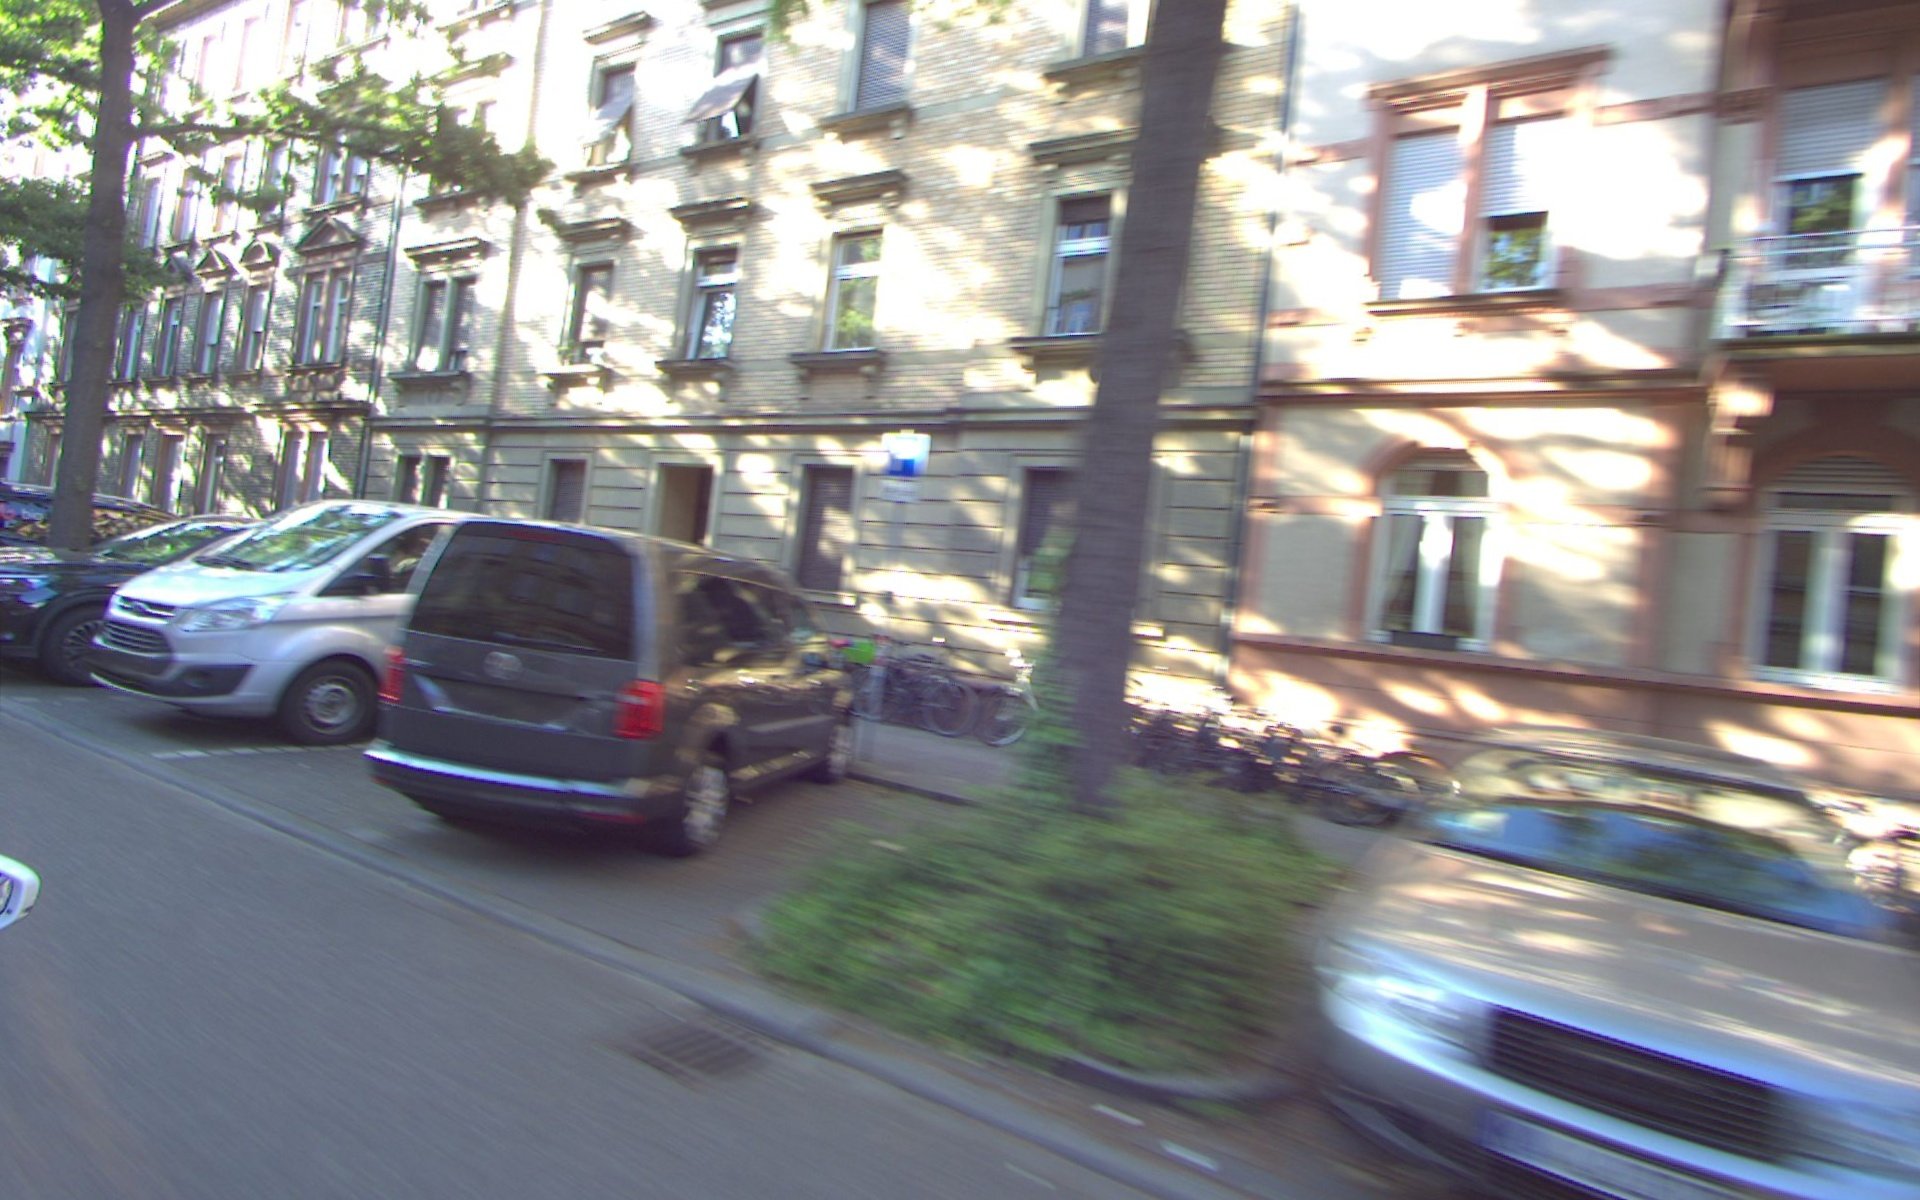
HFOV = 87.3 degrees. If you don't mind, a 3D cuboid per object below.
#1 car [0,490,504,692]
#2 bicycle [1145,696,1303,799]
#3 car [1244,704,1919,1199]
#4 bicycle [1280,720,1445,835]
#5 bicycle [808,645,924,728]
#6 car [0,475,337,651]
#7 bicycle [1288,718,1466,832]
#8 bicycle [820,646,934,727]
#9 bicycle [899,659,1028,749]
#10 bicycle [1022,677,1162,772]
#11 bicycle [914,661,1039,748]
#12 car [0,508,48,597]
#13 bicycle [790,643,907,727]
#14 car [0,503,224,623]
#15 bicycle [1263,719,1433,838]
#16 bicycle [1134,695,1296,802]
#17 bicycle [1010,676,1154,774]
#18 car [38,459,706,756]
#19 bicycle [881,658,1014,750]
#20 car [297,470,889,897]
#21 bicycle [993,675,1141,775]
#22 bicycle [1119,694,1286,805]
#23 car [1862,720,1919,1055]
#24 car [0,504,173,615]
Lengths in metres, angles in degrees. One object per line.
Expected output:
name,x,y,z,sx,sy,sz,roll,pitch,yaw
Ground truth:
car,-7.707,-0.049,10.668,2.042,1.653,4.929,7,0,27
bicycle,2.894,1.602,11.093,1.554,0.865,0.362,6,-2,32
car,2.759,1.272,4.029,1.871,1.384,4.463,7,-1,32
bicycle,3.959,1.719,9.927,1.387,0.865,0.399,6,-2,32
bicycle,-1.252,1.128,13.264,1.554,0.865,0.307,6,-2,32
car,-11.142,-0.461,13.527,1.913,1.808,4.133,6,-3,32
bicycle,4.220,1.748,10.238,1.554,0.865,0.362,6,-2,32
bicycle,-1.135,1.157,13.582,1.554,0.865,0.307,6,-2,32
bicycle,0.027,1.266,12.380,1.554,0.865,0.343,6,-2,32
bicycle,1.544,1.452,11.894,1.554,0.865,0.343,6,-2,32
bicycle,0.193,1.301,12.703,1.554,0.865,0.307,6,-2,32
car,-17.968,-1.075,16.541,1.659,1.472,3.996,6,-3,31
bicycle,-1.452,1.090,12.976,1.554,0.865,0.307,6,-2,32
car,-13.549,-0.613,14.577,1.904,1.472,4.152,7,-1,29
bicycle,3.680,1.668,9.584,1.387,0.865,0.399,6,-2,32
bicycle,2.700,1.563,10.747,1.554,0.865,0.362,6,-2,32
bicycle,1.381,1.416,11.546,1.554,0.865,0.343,6,-2,32
car,-4.954,0.115,9.434,2.138,1.925,4.929,7,0,27
bicycle,-0.165,1.228,12.064,1.554,0.865,0.343,6,-2,32
car,-2.068,0.487,7.416,1.871,1.913,4.682,7,-1,9
bicycle,1.175,1.376,11.220,1.554,0.865,0.343,6,-2,32
bicycle,2.492,1.522,10.412,1.554,0.865,0.362,6,-2,32
car,5.026,1.431,3.351,1.870,1.623,4.240,7,-1,28
car,-15.457,-0.781,16.152,1.658,1.511,3.999,7,-3,28
